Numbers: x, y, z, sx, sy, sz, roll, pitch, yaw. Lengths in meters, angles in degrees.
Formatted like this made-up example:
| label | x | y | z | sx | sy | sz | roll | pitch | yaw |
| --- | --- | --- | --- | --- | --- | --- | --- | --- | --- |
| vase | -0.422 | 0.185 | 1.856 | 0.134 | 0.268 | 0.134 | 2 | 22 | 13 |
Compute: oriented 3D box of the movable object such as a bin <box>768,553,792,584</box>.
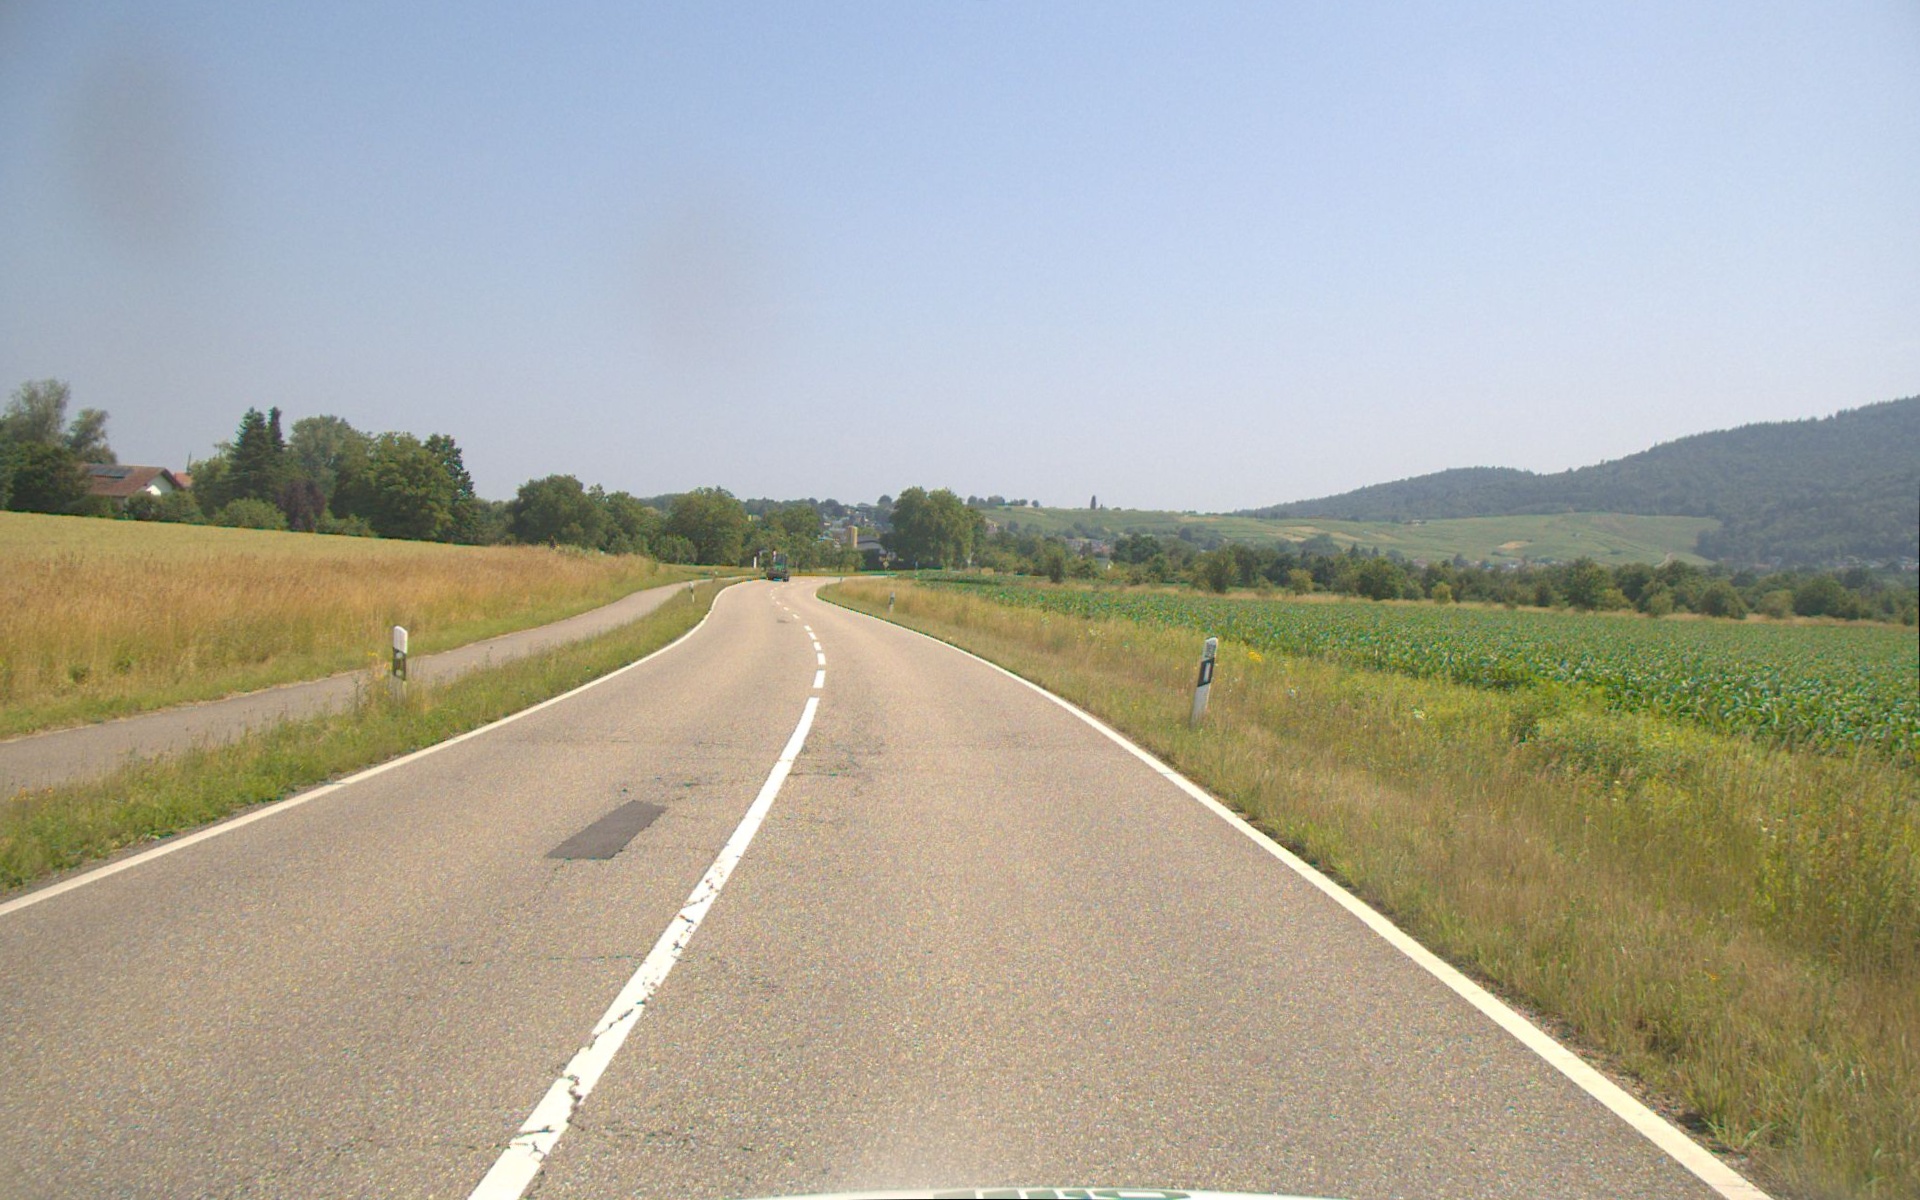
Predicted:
| label | x | y | z | sx | sy | sz | roll | pitch | yaw |
| --- | --- | --- | --- | --- | --- | --- | --- | --- | --- |
| movable object such as a bin | -17.790 | -3.150 | 163.591 | 1.962 | 2.801 | 5.226 | 5 | 1 | -4 |
